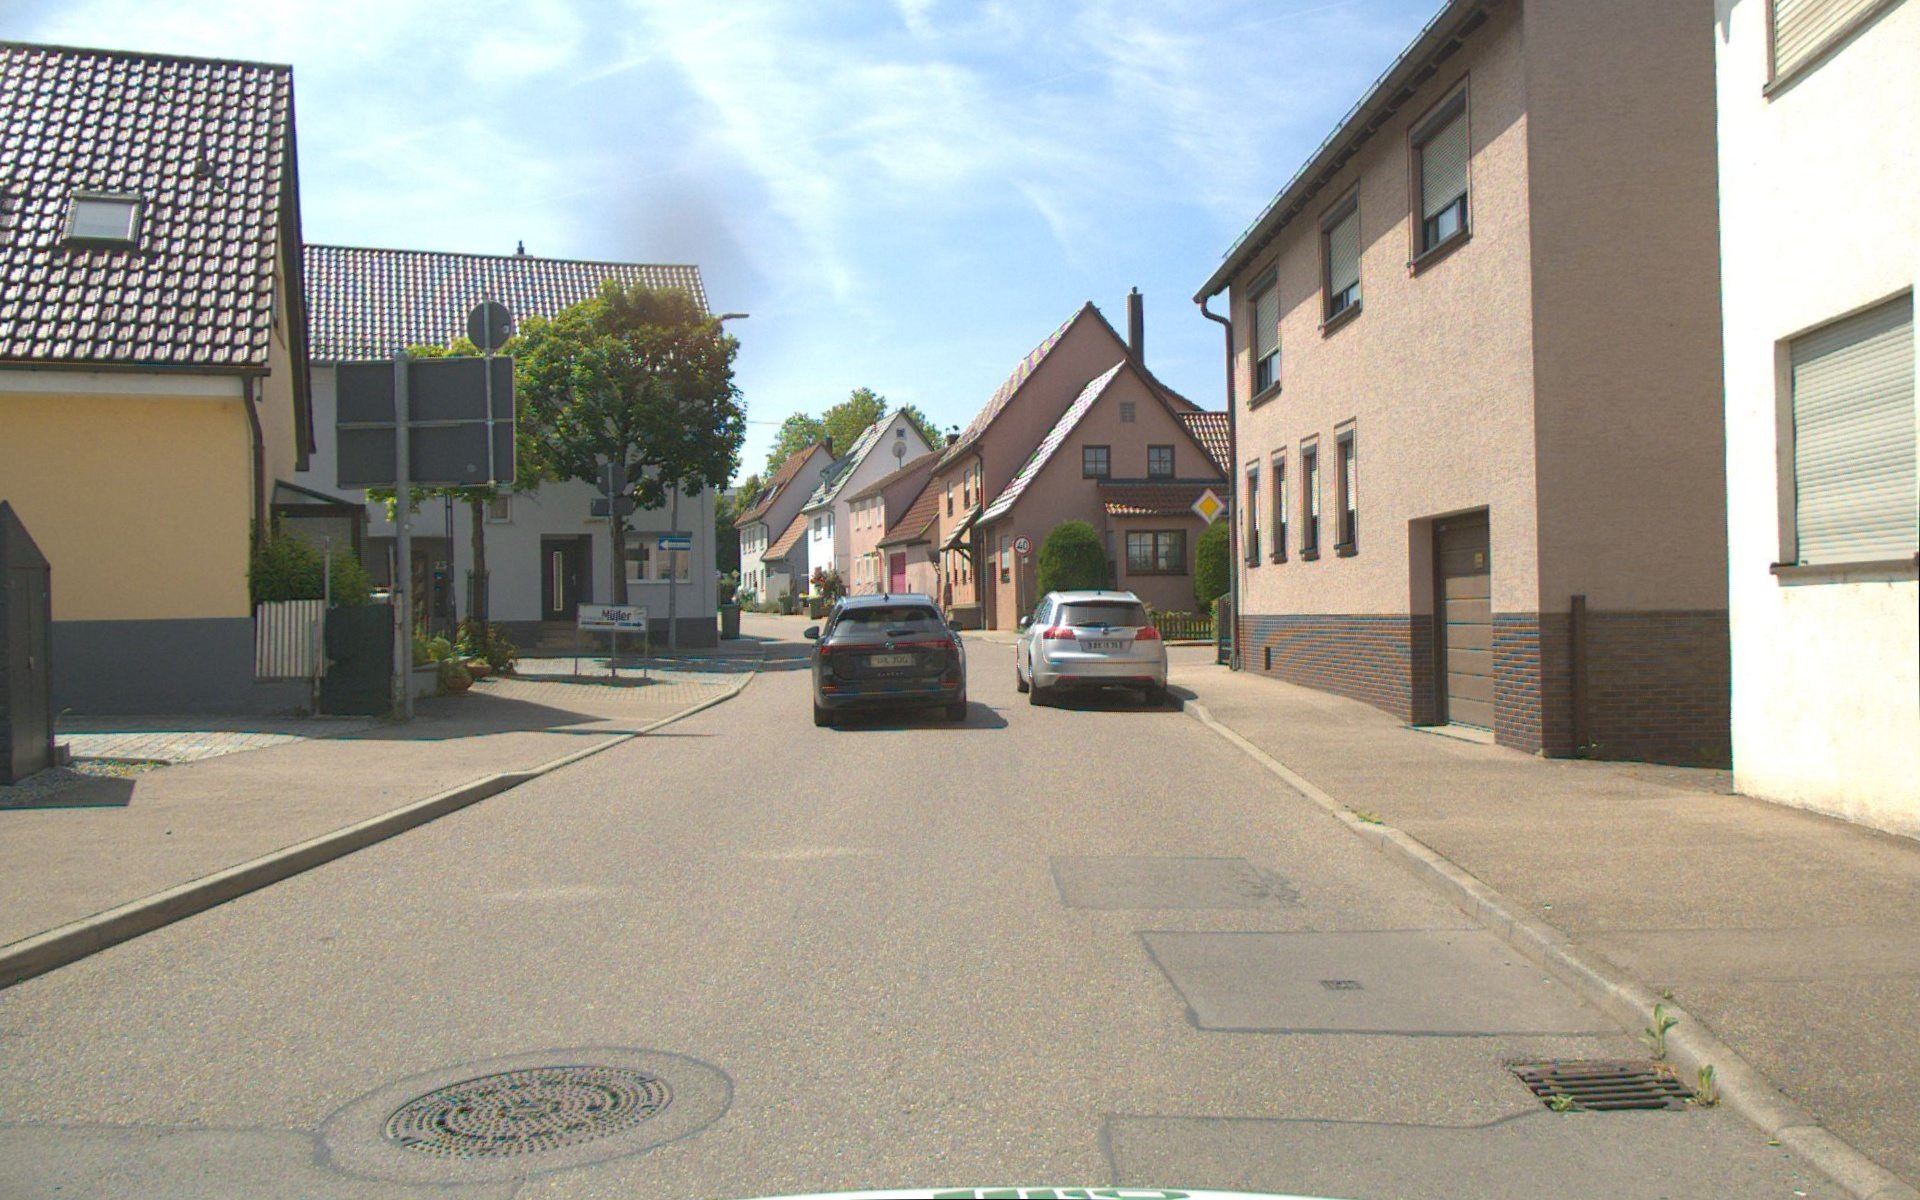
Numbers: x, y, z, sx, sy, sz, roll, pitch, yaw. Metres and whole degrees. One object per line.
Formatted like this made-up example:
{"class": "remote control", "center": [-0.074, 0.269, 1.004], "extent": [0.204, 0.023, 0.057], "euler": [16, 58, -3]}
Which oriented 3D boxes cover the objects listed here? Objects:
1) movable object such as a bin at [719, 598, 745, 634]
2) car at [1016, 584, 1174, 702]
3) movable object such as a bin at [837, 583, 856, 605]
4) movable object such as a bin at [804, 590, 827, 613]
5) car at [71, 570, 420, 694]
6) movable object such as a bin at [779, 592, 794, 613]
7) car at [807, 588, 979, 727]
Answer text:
{"class": "movable object such as a bin", "center": [-6.864, 0.484, 49.708], "extent": [0.740, 1.079, 0.678], "euler": [0, 0, -10]}
{"class": "car", "center": [1.765, 0.520, 22.861], "extent": [1.749, 1.467, 4.336], "euler": [0, 0, -1]}
{"class": "movable object such as a bin", "center": [-5.651, -0.304, 82.072], "extent": [0.669, 1.068, 0.830], "euler": [-5, 2, -21]}
{"class": "movable object such as a bin", "center": [-7.240, 0.067, 82.885], "extent": [0.863, 1.093, 0.867], "euler": [-5, 2, -21]}
{"class": "car", "center": [-11.818, 0.486, 27.758], "extent": [5.017, 1.929, 2.168], "euler": [-1, 0, -13]}
{"class": "movable object such as a bin", "center": [-9.613, 0.143, 91.750], "extent": [0.668, 1.175, 0.815], "euler": [0, 0, -21]}
{"class": "car", "center": [-0.933, 0.598, 20.181], "extent": [1.806, 1.445, 4.677], "euler": [-1, 1, -6]}
